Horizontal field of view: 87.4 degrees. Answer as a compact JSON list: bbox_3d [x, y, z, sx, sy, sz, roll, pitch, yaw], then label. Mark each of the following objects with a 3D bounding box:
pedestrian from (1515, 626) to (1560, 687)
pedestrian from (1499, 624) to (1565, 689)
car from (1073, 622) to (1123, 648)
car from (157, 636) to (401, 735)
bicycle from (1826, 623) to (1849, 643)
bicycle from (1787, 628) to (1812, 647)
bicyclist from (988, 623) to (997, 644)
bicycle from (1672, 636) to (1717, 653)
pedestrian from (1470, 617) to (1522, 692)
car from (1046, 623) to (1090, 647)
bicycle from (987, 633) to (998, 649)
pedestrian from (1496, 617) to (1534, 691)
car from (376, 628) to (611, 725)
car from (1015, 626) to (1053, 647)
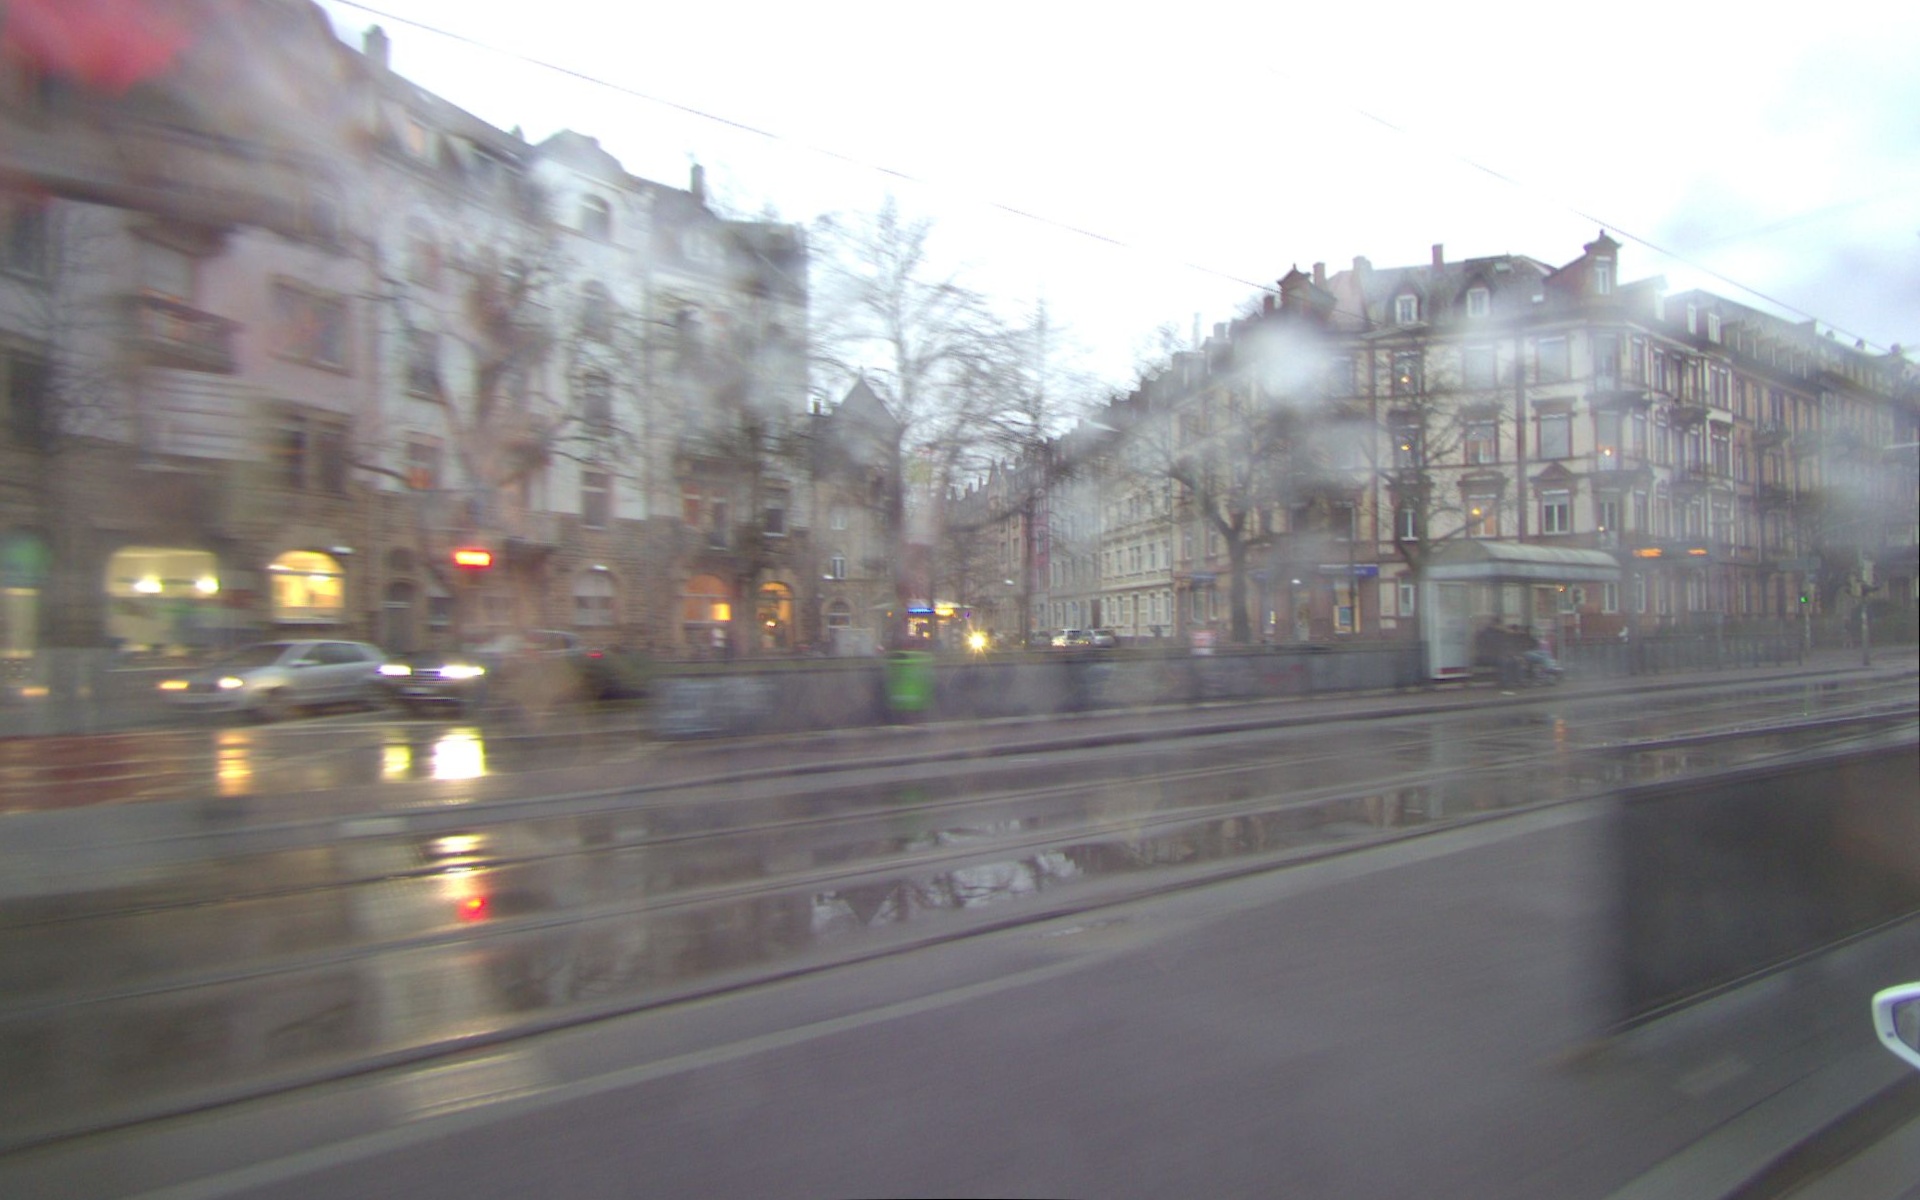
[{"bbox_3d":[12.170,1.178,21.167,0.512,1.235,0.648,0,1,-35],"label":"pedestrian"},{"bbox_3d":[11.809,1.154,20.753,0.501,1.271,1.049,0,1,-34],"label":"pedestrian"},{"bbox_3d":[9.425,2.393,68.880,1.966,1.728,3.989,0,-2,-15],"label":"car"},{"bbox_3d":[-12.744,1.523,19.104,1.581,1.492,3.828,1,1,11],"label":"car"},{"bbox_3d":[44.703,1.685,51.178,1.829,1.020,0.414,0,-2,-34],"label":"bicycle"},{"bbox_3d":[40.653,1.797,48.635,1.829,0.873,0.397,0,-2,-34],"label":"bicycle"},{"bbox_3d":[2.214,2.288,68.877,0.521,1.382,0.765,-1,-1,-5],"label":"bicyclist"},{"bbox_3d":[34.501,2.100,47.180,1.775,0.769,0.401,0,-1,1],"label":"bicycle"},{"bbox_3d":[10.541,1.050,19.757,0.572,1.422,0.679,0,1,-35],"label":"pedestrian"},{"bbox_3d":[7.961,2.606,74.357,1.967,1.728,3.989,0,-2,-15],"label":"car"},{"bbox_3d":[2.218,2.807,68.944,0.483,1.020,1.810,-1,-2,-5],"label":"bicycle"},{"bbox_3d":[11.019,1.058,19.941,0.449,1.422,0.470,0,1,-35],"label":"pedestrian"},{"bbox_3d":[-9.241,1.437,20.341,1.898,1.604,4.345,1,0,17],"label":"car"},{"bbox_3d":[6.125,3.044,83.396,1.967,1.728,3.989,0,-2,-15],"label":"car"}]
